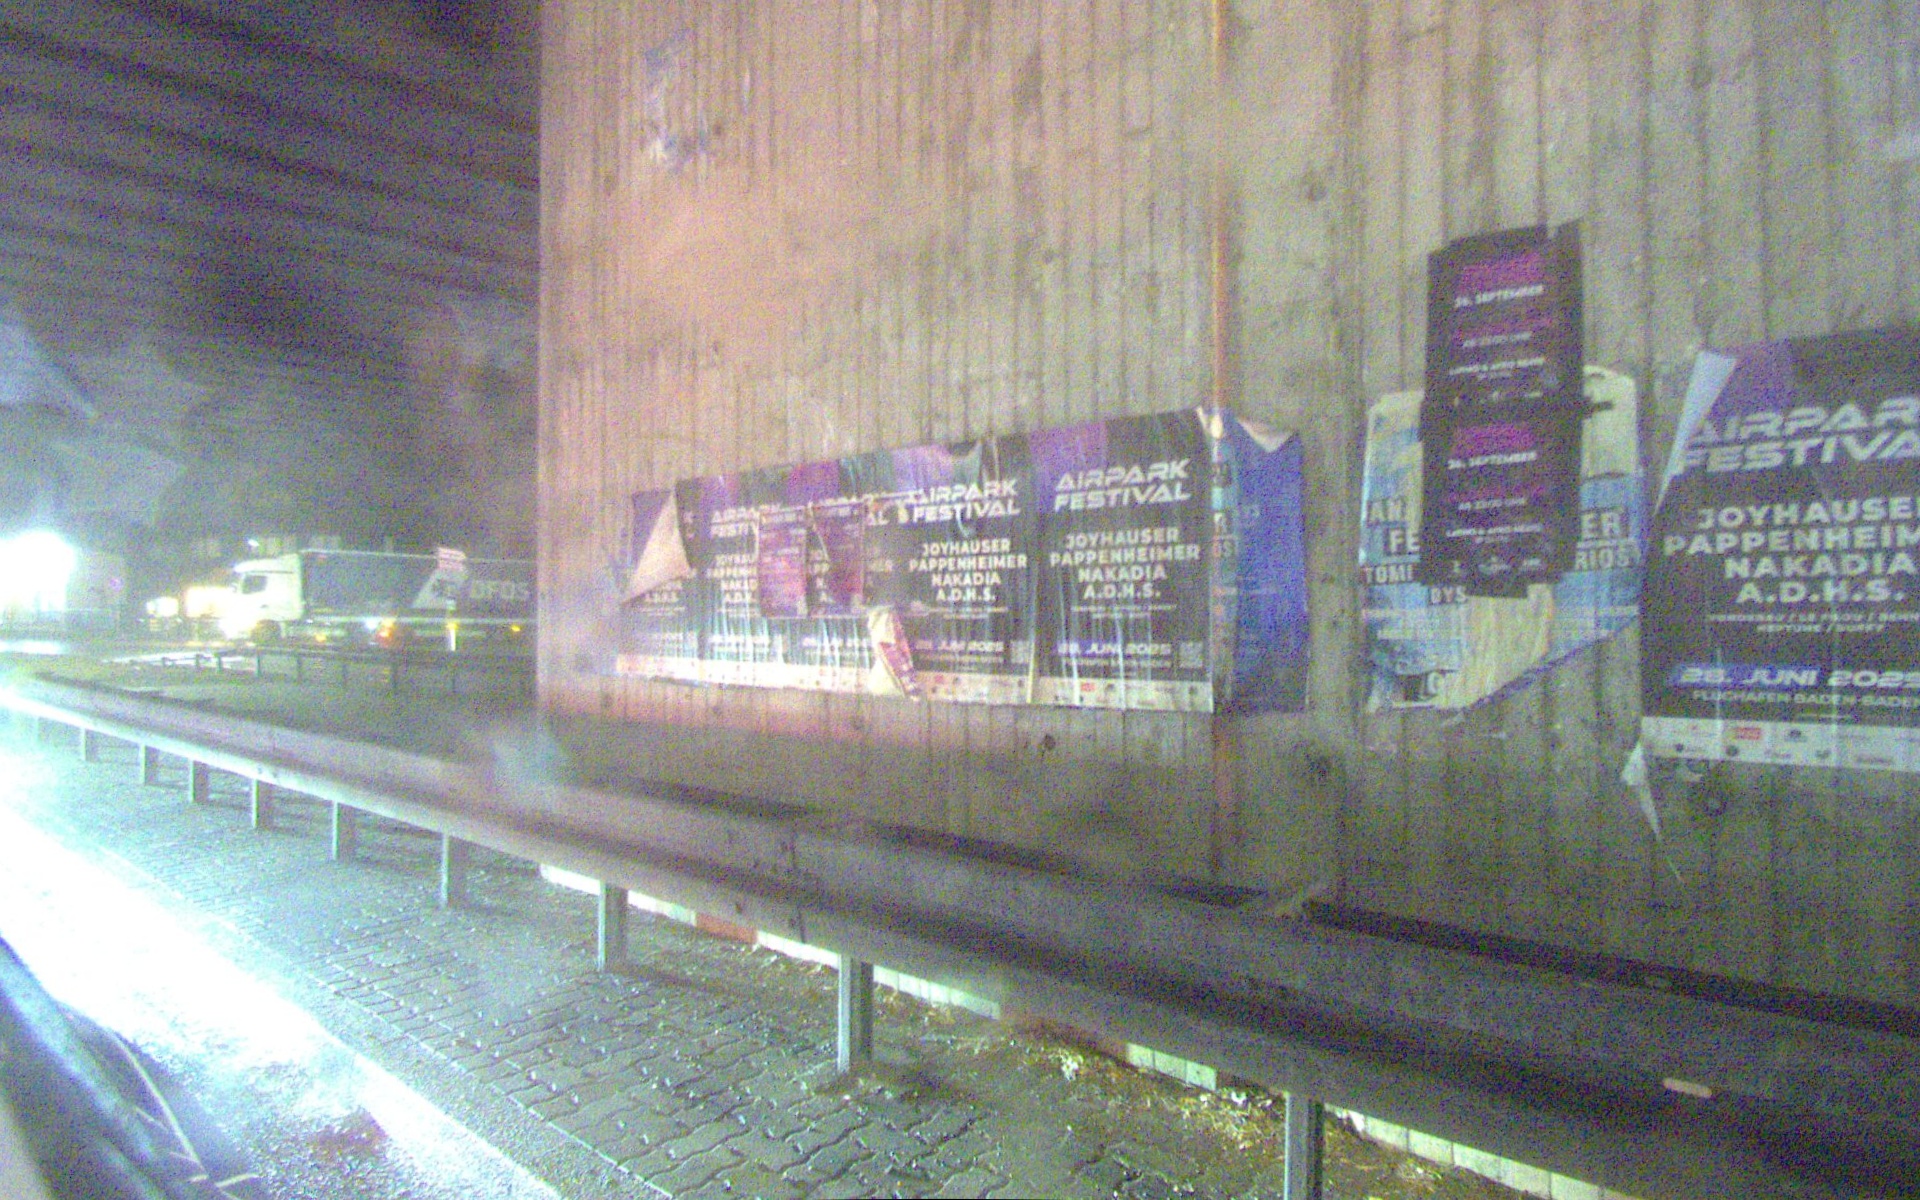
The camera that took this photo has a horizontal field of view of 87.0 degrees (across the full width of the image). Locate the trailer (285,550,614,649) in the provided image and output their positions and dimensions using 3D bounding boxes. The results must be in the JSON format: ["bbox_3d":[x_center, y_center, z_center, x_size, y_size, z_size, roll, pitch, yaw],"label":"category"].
[{"bbox_3d":[-24.325,-0.072,49.202,13.706,4.208,3.975,-1,0,-42],"label":"trailer"}]

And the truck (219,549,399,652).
[{"bbox_3d":[-28.946,-0.004,45.096,6.276,4.208,3.976,-1,0,-40],"label":"truck"}]
